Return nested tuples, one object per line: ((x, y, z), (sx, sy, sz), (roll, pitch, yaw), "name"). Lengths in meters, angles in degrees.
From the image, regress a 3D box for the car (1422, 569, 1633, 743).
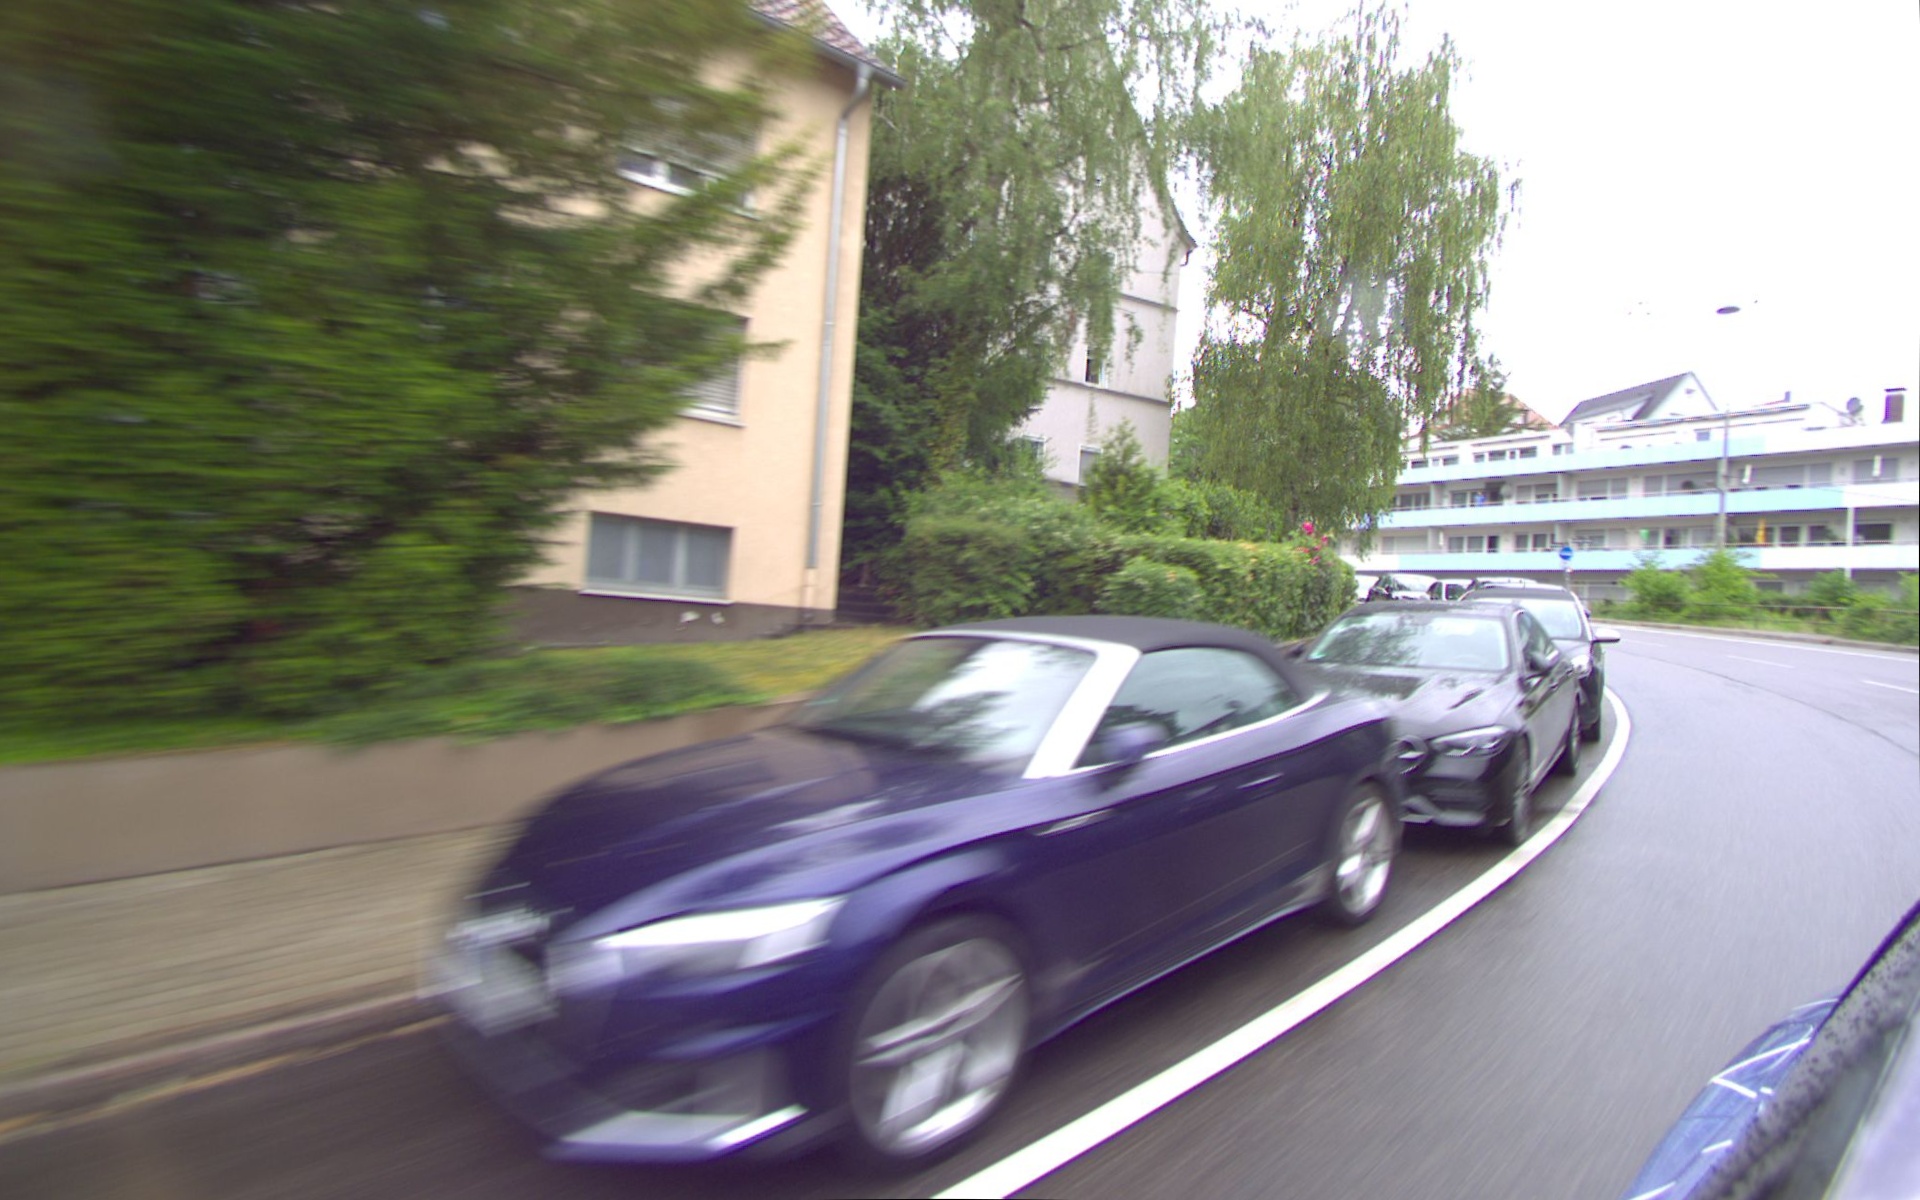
((6.437, 0.496, 11.384), (1.676, 1.489, 3.696), (6, 3, 32), "car")

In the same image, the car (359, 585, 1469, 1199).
((0.311, 0.694, 4.212), (4.544, 1.364, 1.809), (0, 4, -44), "car")

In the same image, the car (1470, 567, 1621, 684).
((9.039, 0.304, 15.889), (1.705, 1.452, 4.030), (6, 3, 27), "car")

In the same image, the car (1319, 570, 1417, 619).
((13.949, -0.238, 34.822), (1.763, 1.463, 4.105), (2, 3, 2), "car")

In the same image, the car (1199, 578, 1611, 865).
((3.658, 0.624, 7.777), (1.804, 1.453, 4.469), (5, 3, 38), "car")

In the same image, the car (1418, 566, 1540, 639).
((12.593, -0.012, 24.810), (1.707, 1.481, 4.013), (5, 3, 15), "car")

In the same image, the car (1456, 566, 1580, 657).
((11.119, 0.164, 20.392), (1.607, 1.523, 3.579), (5, 3, 22), "car")

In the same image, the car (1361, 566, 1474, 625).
((13.400, -0.194, 29.911), (1.601, 1.537, 4.322), (3, 2, 5), "car")
